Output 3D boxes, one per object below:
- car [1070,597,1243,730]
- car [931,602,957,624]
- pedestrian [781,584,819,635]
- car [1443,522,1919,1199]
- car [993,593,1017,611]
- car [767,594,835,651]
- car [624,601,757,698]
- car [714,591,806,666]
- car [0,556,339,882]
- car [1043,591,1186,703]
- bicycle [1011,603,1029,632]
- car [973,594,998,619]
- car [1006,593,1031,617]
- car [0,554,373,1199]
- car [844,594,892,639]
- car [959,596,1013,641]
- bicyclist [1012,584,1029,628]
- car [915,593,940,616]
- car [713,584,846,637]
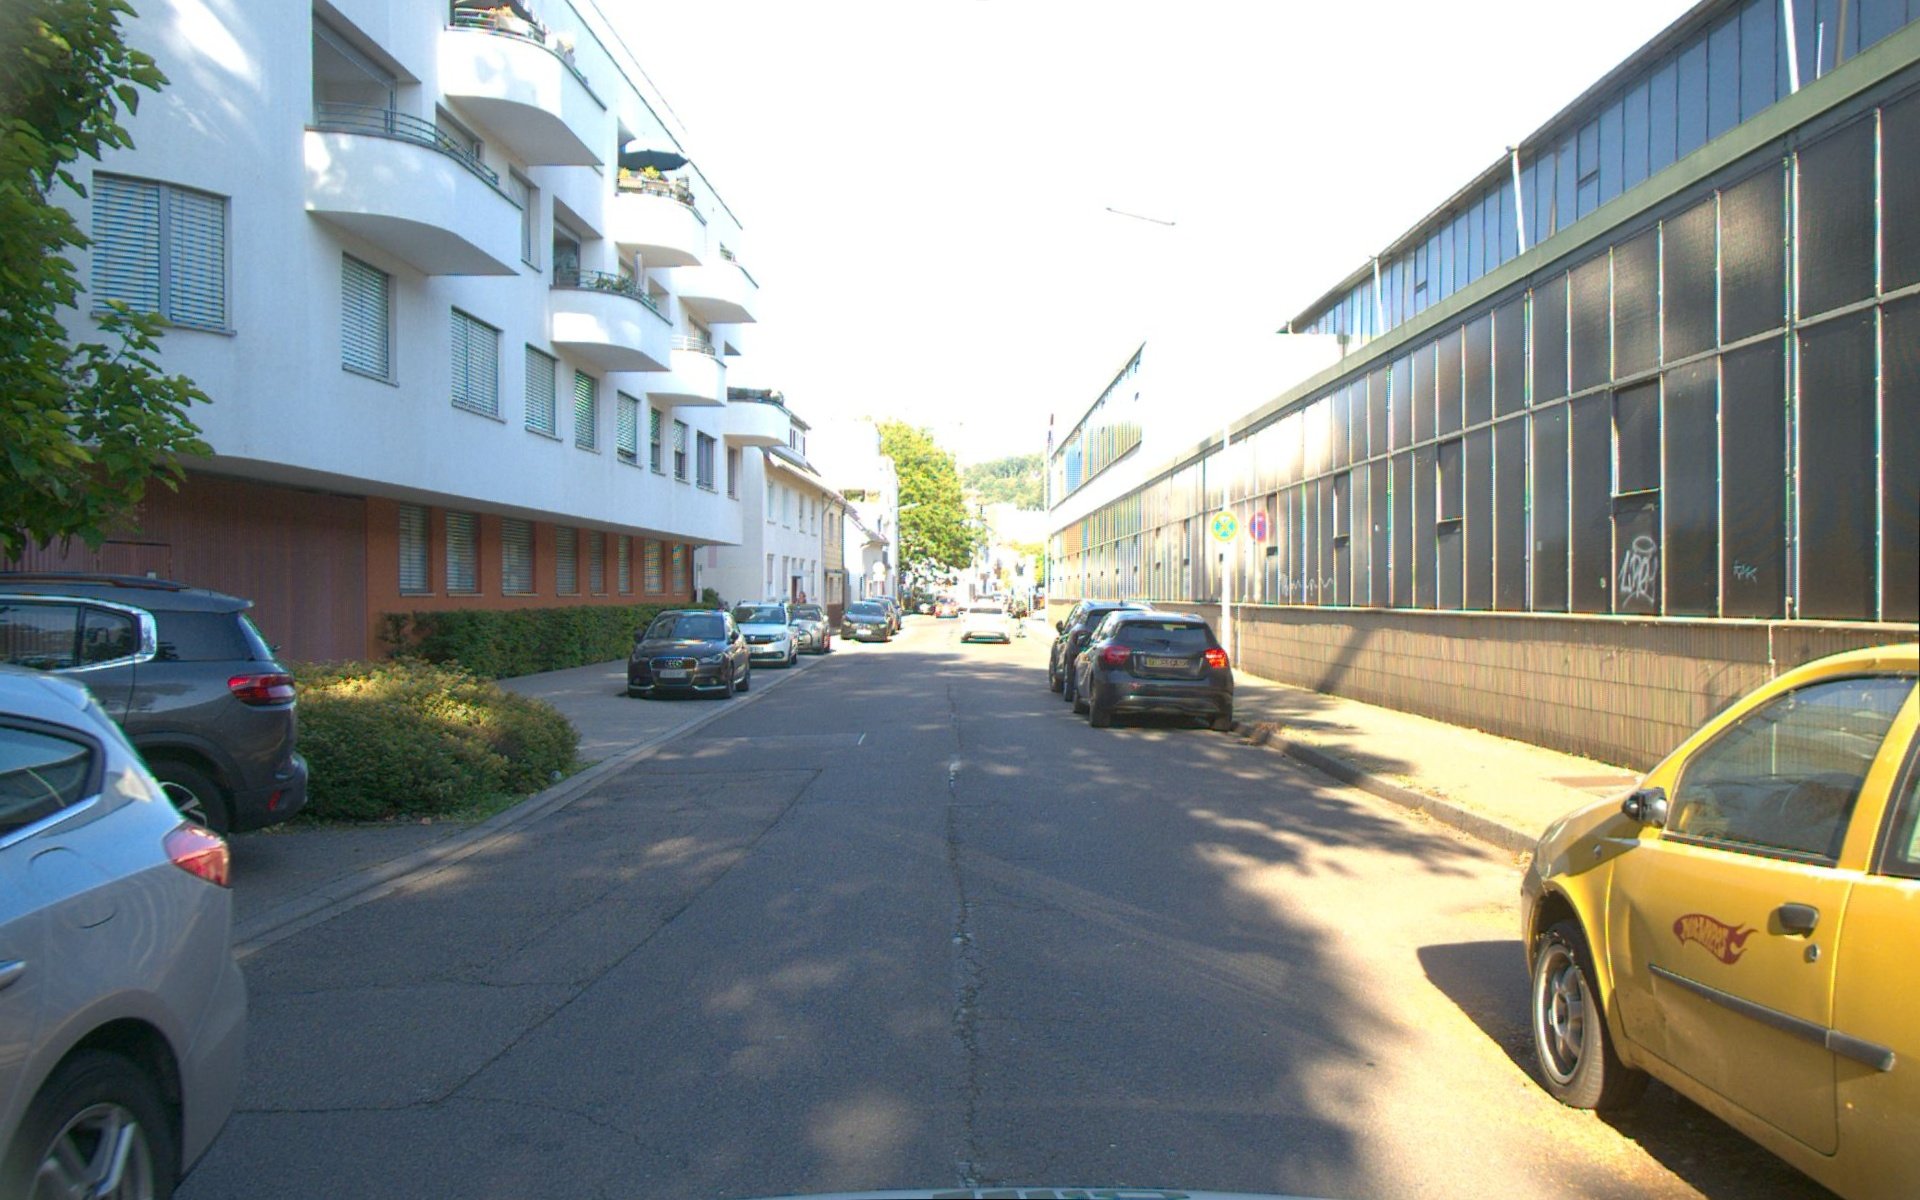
[{"bbox_3d":[2.513,0.780,22.212,1.715,1.517,4.621,3,-1,0],"label":"car"},{"bbox_3d":[-1.161,0.931,119.652,1.804,1.517,4.144,2,0,0],"label":"car"},{"bbox_3d":[-6.032,0.356,62.412,0.844,1.850,1.131,4,0,24],"label":"pedestrian"},{"bbox_3d":[2.742,0.704,4.141,1.715,1.663,3.999,2,-1,-3],"label":"car"},{"bbox_3d":[4.064,0.179,149.593,1.803,1.517,4.147,2,0,6],"label":"car"},{"bbox_3d":[-4.715,0.669,49.464,1.633,1.562,3.856,3,-1,0],"label":"car"},{"bbox_3d":[-4.508,0.795,28.134,1.640,1.458,3.769,3,-1,-1],"label":"car"},{"bbox_3d":[-4.769,0.661,39.999,1.821,1.615,4.618,3,-1,-3],"label":"car"},{"bbox_3d":[-5.637,0.603,9.166,3.902,1.691,1.684,2,-1,-28],"label":"car"},{"bbox_3d":[2.463,0.732,27.365,1.771,1.615,4.403,3,-1,-2],"label":"car"},{"bbox_3d":[2.485,0.722,68.559,0.684,1.150,2.403,2,-1,2],"label":"bicycle"},{"bbox_3d":[1.990,0.489,129.865,1.815,1.823,4.606,1,0,-1],"label":"car"},{"bbox_3d":[4.207,0.348,119.012,1.596,1.615,4.069,-2,0,0],"label":"car"},{"bbox_3d":[-2.622,0.723,2.130,1.860,1.563,4.623,-1,0,3],"label":"car"},{"bbox_3d":[-3.463,0.604,62.395,1.651,1.562,4.332,3,-1,-3],"label":"car"},{"bbox_3d":[0.914,0.649,59.702,1.804,1.517,4.143,2,0,0],"label":"car"},{"bbox_3d":[2.506,0.250,68.736,0.684,1.821,1.041,2,-1,2],"label":"bicyclist"},{"bbox_3d":[-2.667,0.349,136.159,1.814,1.823,4.608,1,0,2],"label":"car"},{"bbox_3d":[-6.026,0.356,55.621,4.234,1.562,1.689,3,-1,-2],"label":"car"}]
